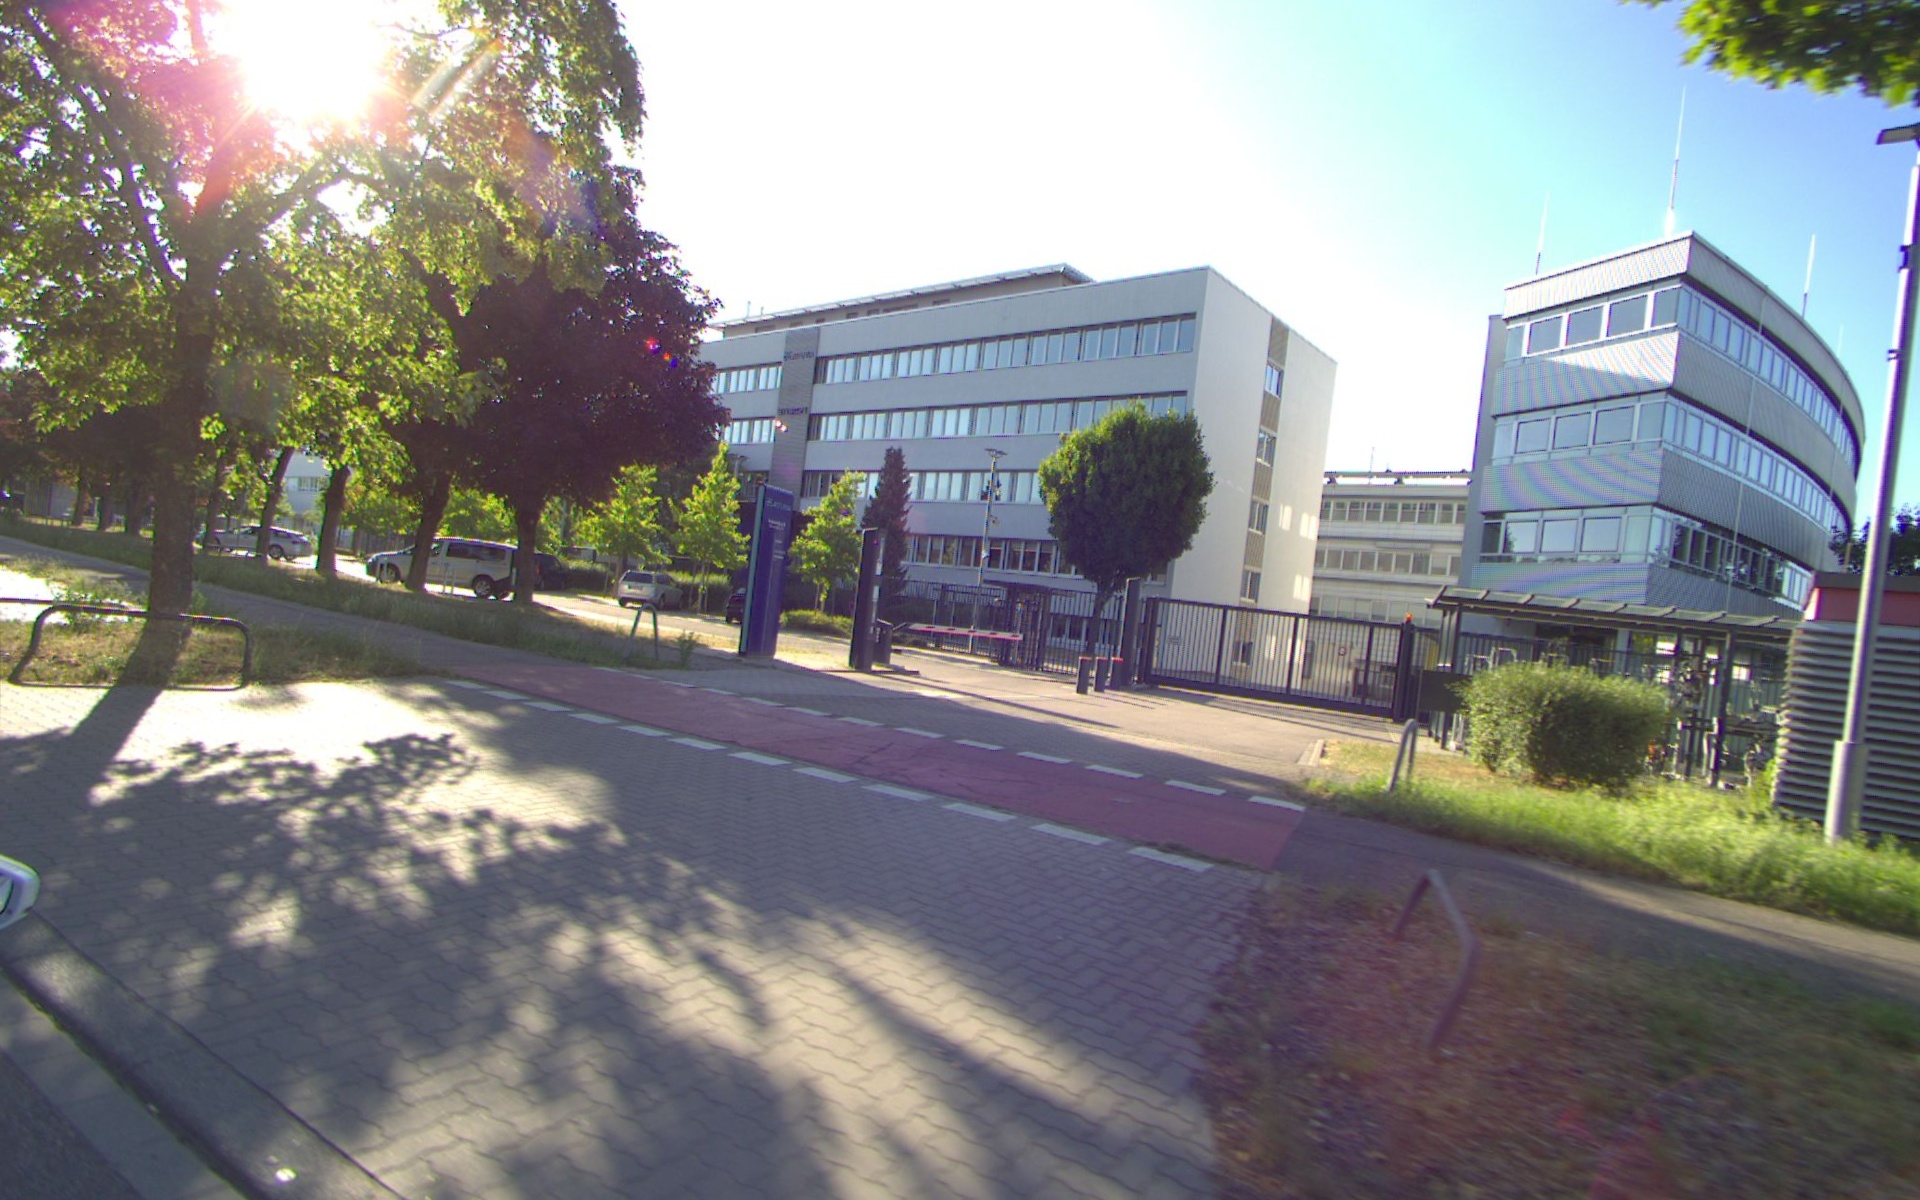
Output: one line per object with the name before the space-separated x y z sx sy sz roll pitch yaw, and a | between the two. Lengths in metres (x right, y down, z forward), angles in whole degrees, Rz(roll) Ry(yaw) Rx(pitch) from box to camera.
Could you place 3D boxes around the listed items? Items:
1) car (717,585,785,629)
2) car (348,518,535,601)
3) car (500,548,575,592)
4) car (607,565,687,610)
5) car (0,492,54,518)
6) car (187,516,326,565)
car | -7.804 0.251 37.877 1.774 1.370 3.998 7 -1 -3
car | -16.977 -1.284 33.156 4.868 1.957 1.998 8 0 -6
car | -20.260 -1.385 48.438 1.736 1.771 4.492 7 0 -4
car | -12.989 -0.466 42.050 1.773 1.547 4.313 7 -1 1
car | -82.083 -8.337 87.635 2.029 1.726 4.426 7 -1 39
car | -33.283 -2.789 47.736 4.874 1.593 1.995 7 0 -13
